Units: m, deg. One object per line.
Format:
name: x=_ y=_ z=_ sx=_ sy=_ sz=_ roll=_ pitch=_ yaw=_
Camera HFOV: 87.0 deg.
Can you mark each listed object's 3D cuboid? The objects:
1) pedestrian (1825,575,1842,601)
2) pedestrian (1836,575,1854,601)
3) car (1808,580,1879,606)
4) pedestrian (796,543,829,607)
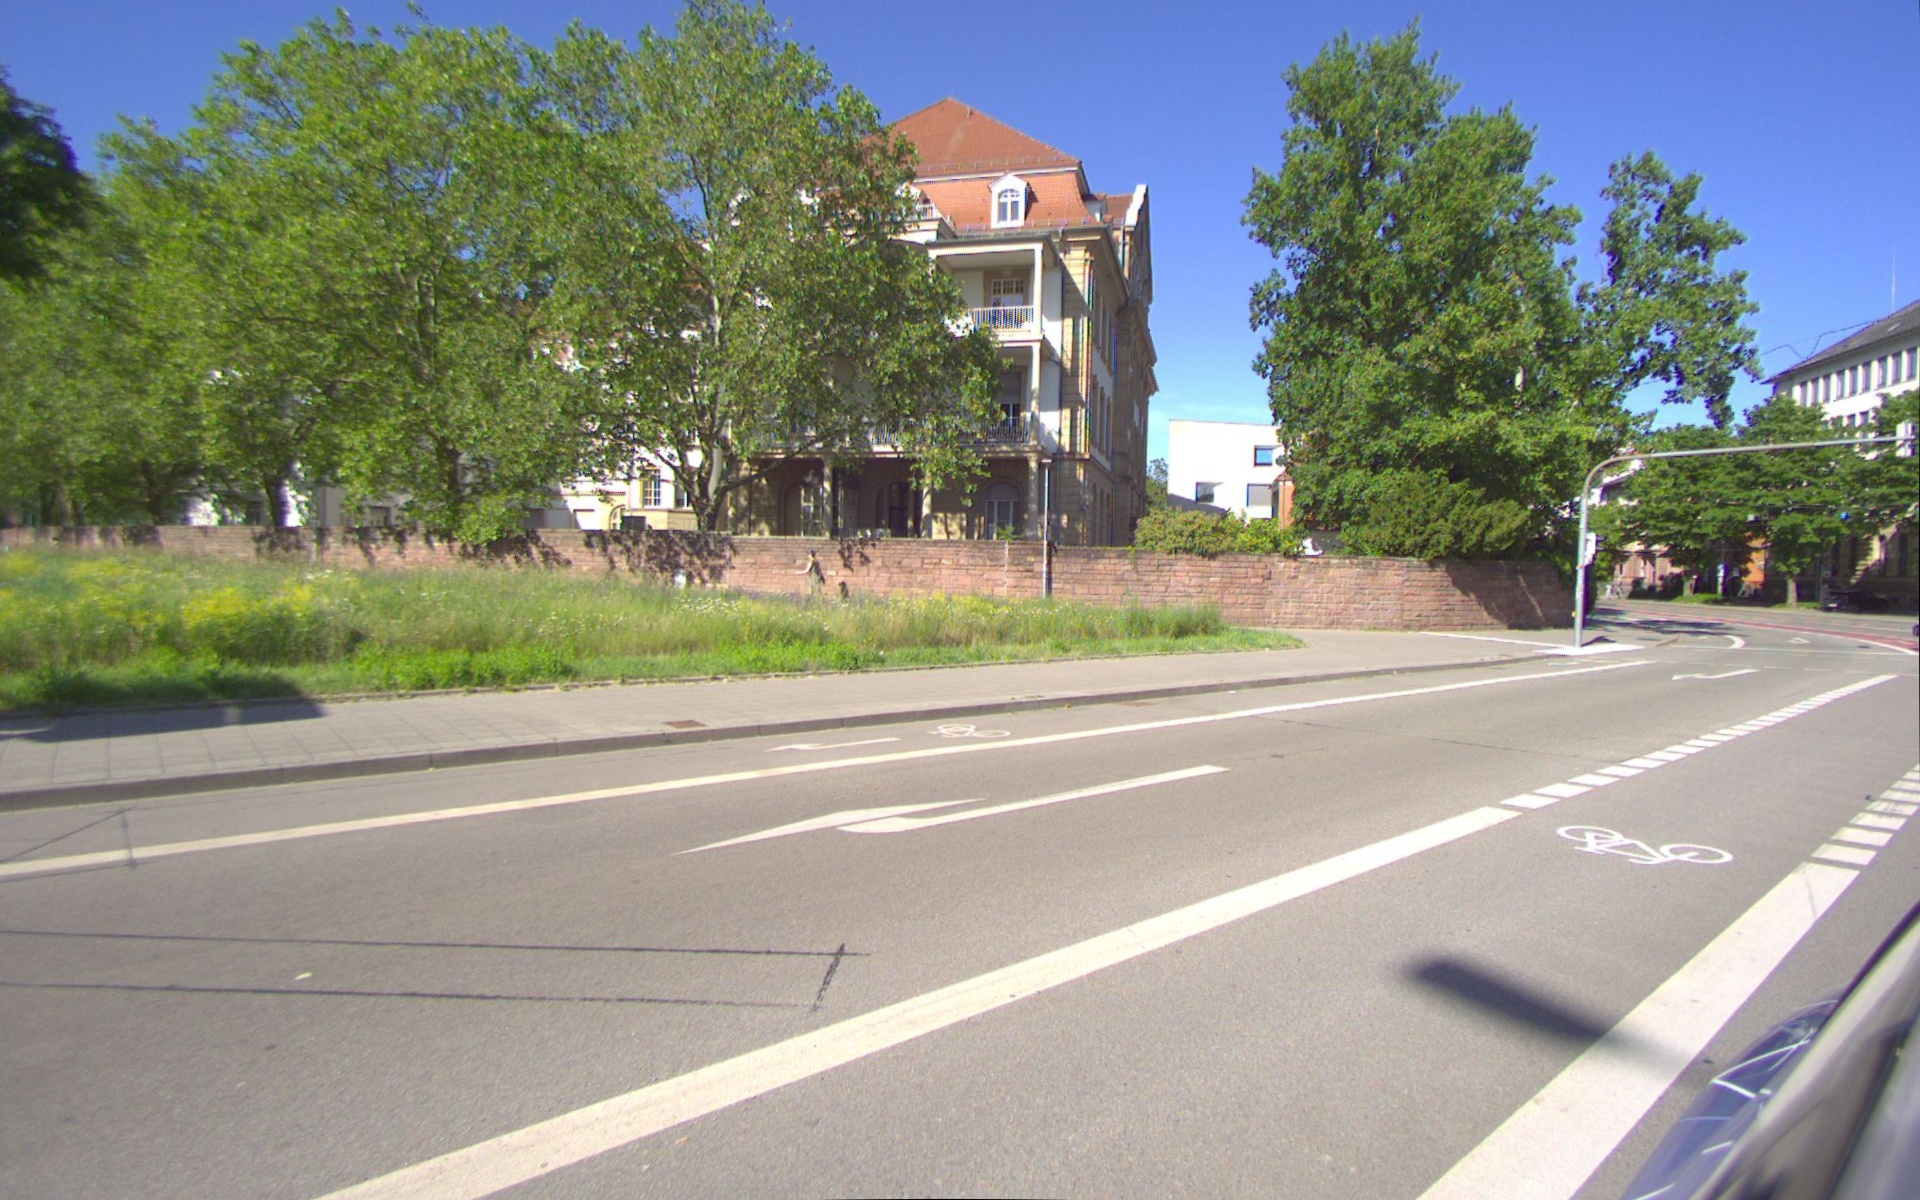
pedestrian: x=64.636 y=-0.907 z=74.870 sx=0.568 sy=1.927 sz=0.781 roll=1 pitch=1 yaw=12
pedestrian: x=65.250 y=-0.887 z=74.637 sx=0.568 sy=1.927 sz=0.849 roll=1 pitch=1 yaw=12
car: x=60.103 y=-0.514 z=68.903 sx=1.806 sy=1.615 sz=3.988 roll=2 pitch=2 yaw=11
pedestrian: x=-4.402 y=-0.741 z=30.161 sx=0.776 sy=1.881 sz=0.627 roll=1 pitch=1 yaw=16
